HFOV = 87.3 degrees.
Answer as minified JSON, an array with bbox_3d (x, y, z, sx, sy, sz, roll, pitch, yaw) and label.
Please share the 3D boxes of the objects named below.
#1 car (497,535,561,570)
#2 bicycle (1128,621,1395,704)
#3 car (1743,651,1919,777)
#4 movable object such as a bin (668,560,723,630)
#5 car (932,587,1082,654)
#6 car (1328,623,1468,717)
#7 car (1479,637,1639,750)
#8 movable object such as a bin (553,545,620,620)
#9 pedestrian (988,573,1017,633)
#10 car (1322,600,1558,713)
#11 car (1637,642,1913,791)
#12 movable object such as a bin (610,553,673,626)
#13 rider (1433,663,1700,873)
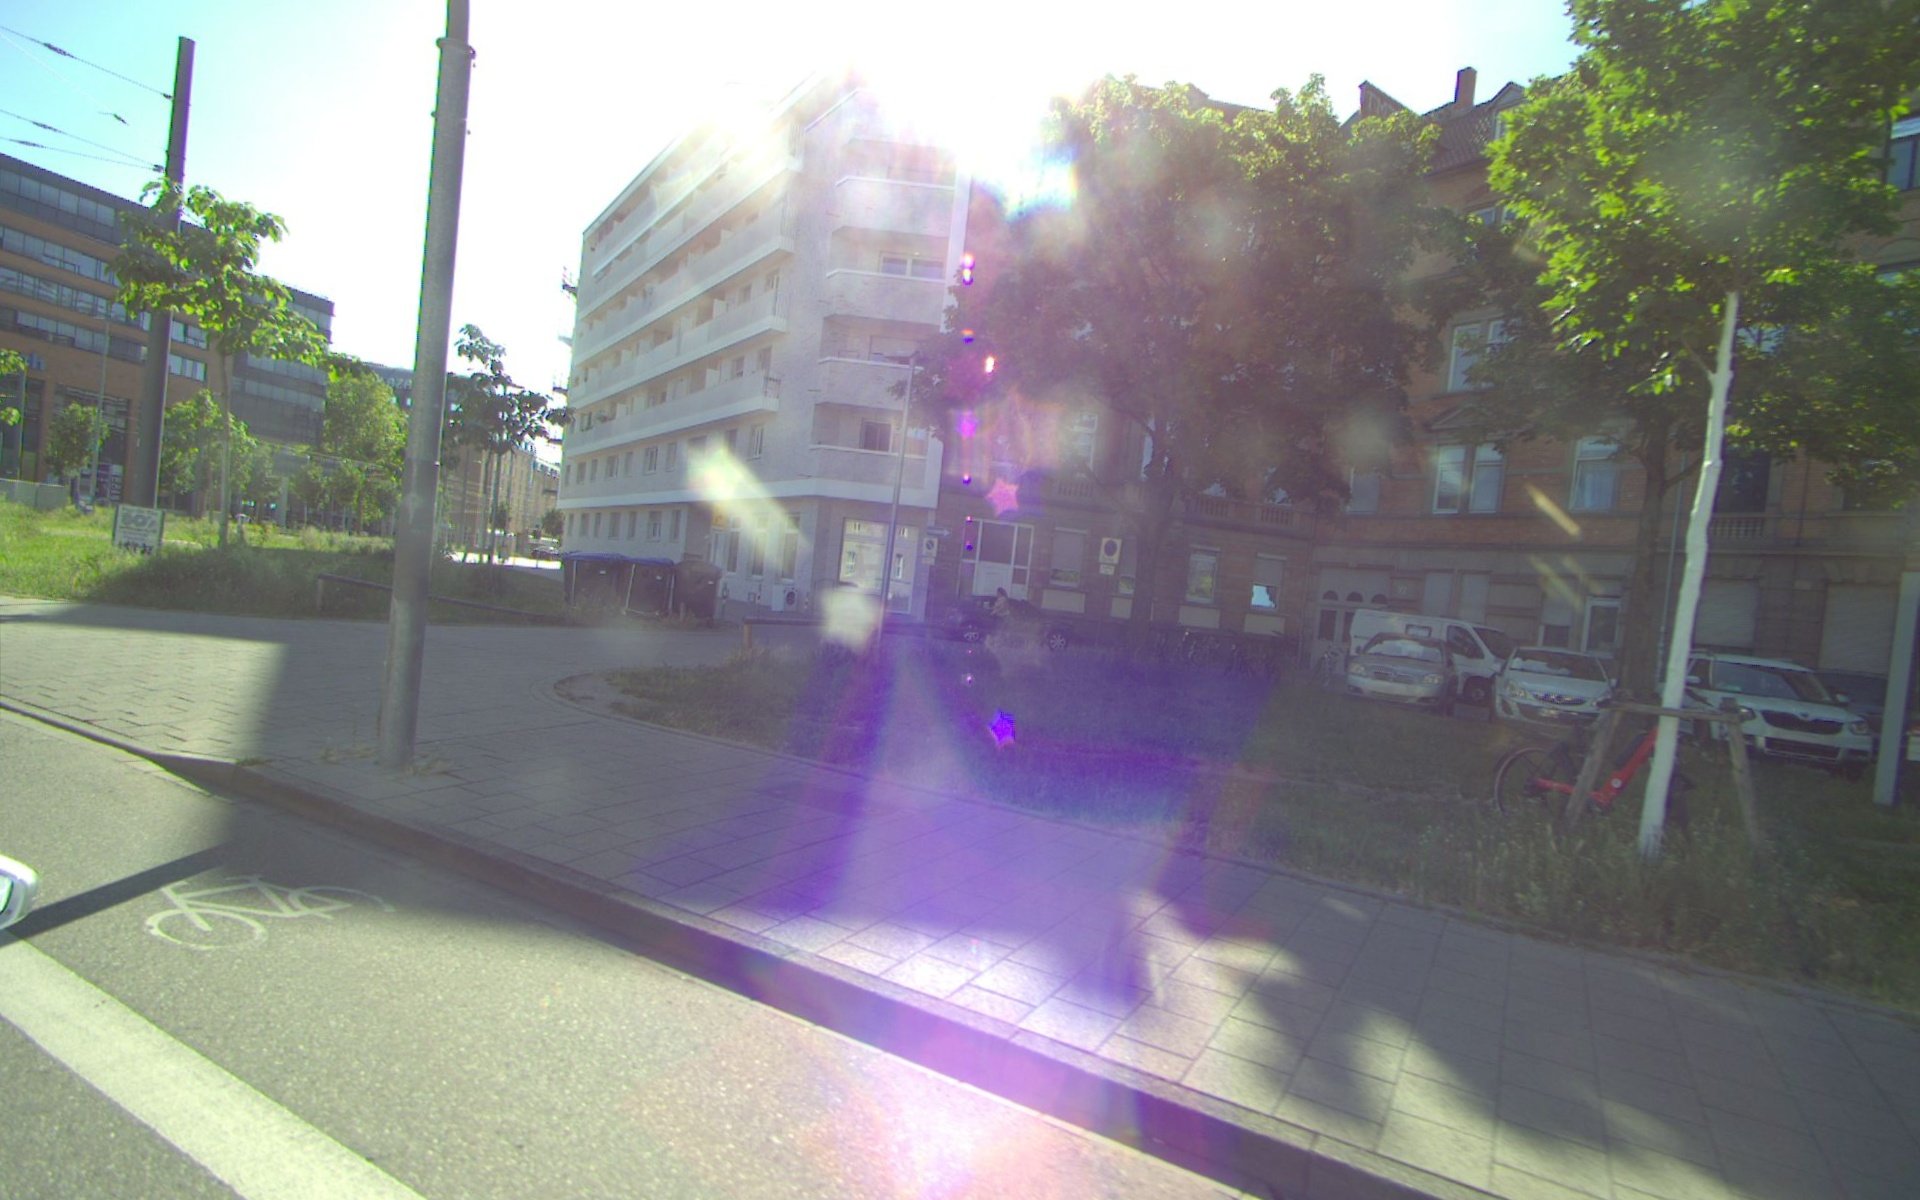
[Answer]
[{"bbox_3d":[-31.363,-3.466,73.300,3.941,2.039,1.992,6,0,-19],"label":"car"},{"bbox_3d":[6.692,1.376,22.856,2.662,1.141,5.165,7,0,-39],"label":"bicycle"},{"bbox_3d":[18.380,2.292,19.376,1.979,2.004,4.680,4,2,-33],"label":"car"},{"bbox_3d":[-5.839,-0.115,22.282,1.015,1.416,1.087,6,1,-14],"label":"movable object such as a bin"},{"bbox_3d":[1.325,0.590,29.680,4.036,1.454,1.998,6,0,-7],"label":"car"},{"bbox_3d":[8.208,1.275,18.656,1.808,1.354,4.048,7,0,30],"label":"car"},{"bbox_3d":[9.813,1.469,16.772,1.728,1.459,3.840,7,0,25],"label":"car"},{"bbox_3d":[-7.805,-0.366,21.088,1.055,1.416,1.300,6,1,-14],"label":"movable object such as a bin"},{"bbox_3d":[1.195,0.079,28.291,0.630,1.597,0.771,6,1,3],"label":"pedestrian"},{"bbox_3d":[12.802,1.446,27.212,2.331,2.389,5.140,4,2,-33],"label":"car"},{"bbox_3d":[11.561,1.545,14.684,1.903,1.585,4.466,7,0,25],"label":"car"},{"bbox_3d":[-6.877,-0.236,21.787,1.093,1.416,1.317,6,1,-14],"label":"movable object such as a bin"},{"bbox_3d":[4.392,1.172,7.448,0.495,1.191,1.669,6,2,-16],"label":"rider"}]
